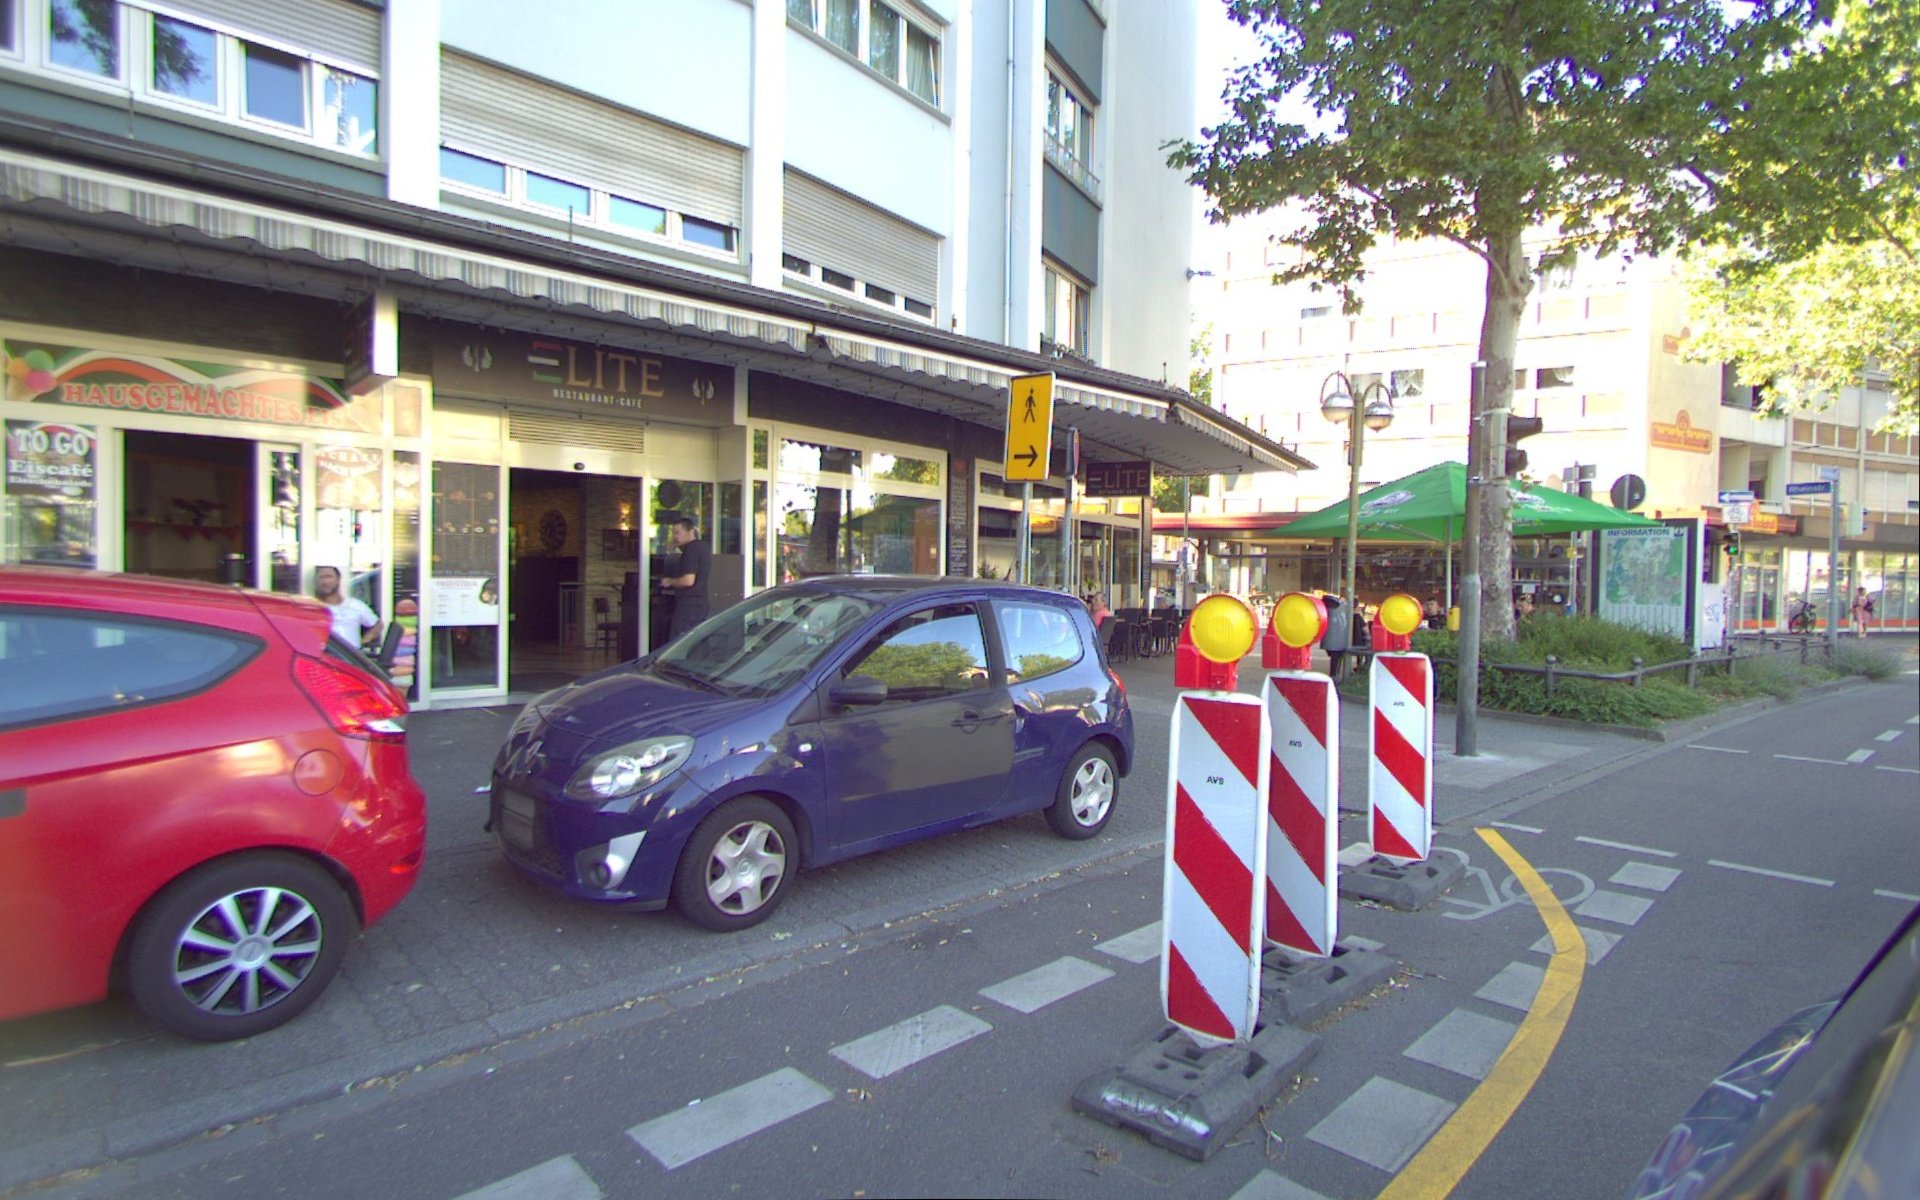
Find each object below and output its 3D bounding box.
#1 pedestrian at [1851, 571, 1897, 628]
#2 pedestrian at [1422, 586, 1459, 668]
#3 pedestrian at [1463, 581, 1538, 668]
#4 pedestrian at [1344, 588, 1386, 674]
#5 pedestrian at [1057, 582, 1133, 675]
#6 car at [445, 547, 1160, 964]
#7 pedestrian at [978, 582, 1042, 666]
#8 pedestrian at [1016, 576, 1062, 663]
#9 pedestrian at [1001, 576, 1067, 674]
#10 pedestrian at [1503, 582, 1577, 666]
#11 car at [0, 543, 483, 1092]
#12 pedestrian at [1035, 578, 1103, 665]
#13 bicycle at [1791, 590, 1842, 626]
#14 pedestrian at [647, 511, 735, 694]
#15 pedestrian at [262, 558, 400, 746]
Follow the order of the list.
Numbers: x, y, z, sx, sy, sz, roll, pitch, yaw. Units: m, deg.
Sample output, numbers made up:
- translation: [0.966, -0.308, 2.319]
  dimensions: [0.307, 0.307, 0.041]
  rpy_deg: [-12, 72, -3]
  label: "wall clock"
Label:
- translation: [28.950, -0.019, 32.067]
  dimensions: [0.883, 1.779, 0.751]
  rpy_deg: [0, 1, -24]
  label: "pedestrian"
- translation: [7.478, 0.413, 15.763]
  dimensions: [0.427, 1.234, 0.465]
  rpy_deg: [3, 2, 20]
  label: "pedestrian"
- translation: [8.441, 0.364, 15.813]
  dimensions: [0.752, 1.301, 0.721]
  rpy_deg: [0, 1, -27]
  label: "pedestrian"
- translation: [5.966, 0.449, 14.907]
  dimensions: [0.460, 1.235, 0.432]
  rpy_deg: [0, 0, 5]
  label: "pedestrian"
- translation: [1.879, 0.373, 14.020]
  dimensions: [0.838, 1.213, 0.644]
  rpy_deg: [3, 1, 27]
  label: "pedestrian"
- translation: [-0.644, 0.528, 5.515]
  dimensions: [3.545, 1.484, 1.621]
  rpy_deg: [-1, 4, -44]
  label: "car"
- translation: [0.726, 0.330, 14.650]
  dimensions: [0.710, 1.144, 0.645]
  rpy_deg: [3, 1, 25]
  label: "pedestrian"
- translation: [1.188, 0.283, 15.271]
  dimensions: [0.541, 1.259, 0.521]
  rpy_deg: [2, 1, -7]
  label: "pedestrian"
- translation: [1.015, 0.322, 13.745]
  dimensions: [0.644, 1.267, 0.711]
  rpy_deg: [3, 1, 25]
  label: "pedestrian"
- translation: [9.291, 0.372, 16.215]
  dimensions: [0.753, 1.301, 0.720]
  rpy_deg: [0, 1, -28]
  label: "pedestrian"
- translation: [-3.622, 0.566, 2.846]
  dimensions: [1.667, 1.446, 3.786]
  rpy_deg: [5, 4, 44]
  label: "car"
- translation: [1.610, 0.305, 14.911]
  dimensions: [0.664, 1.233, 0.706]
  rpy_deg: [3, 1, 43]
  label: "pedestrian"
- translation: [28.150, 0.248, 33.243]
  dimensions: [1.933, 1.157, 0.530]
  rpy_deg: [0, 1, -26]
  label: "bicycle"
- translation: [-2.685, 0.011, 10.110]
  dimensions: [0.579, 1.756, 0.596]
  rpy_deg: [1, 3, -43]
  label: "pedestrian"
- translation: [-4.802, 0.334, 7.706]
  dimensions: [0.765, 1.247, 1.207]
  rpy_deg: [-1, 5, -38]
  label: "pedestrian"
